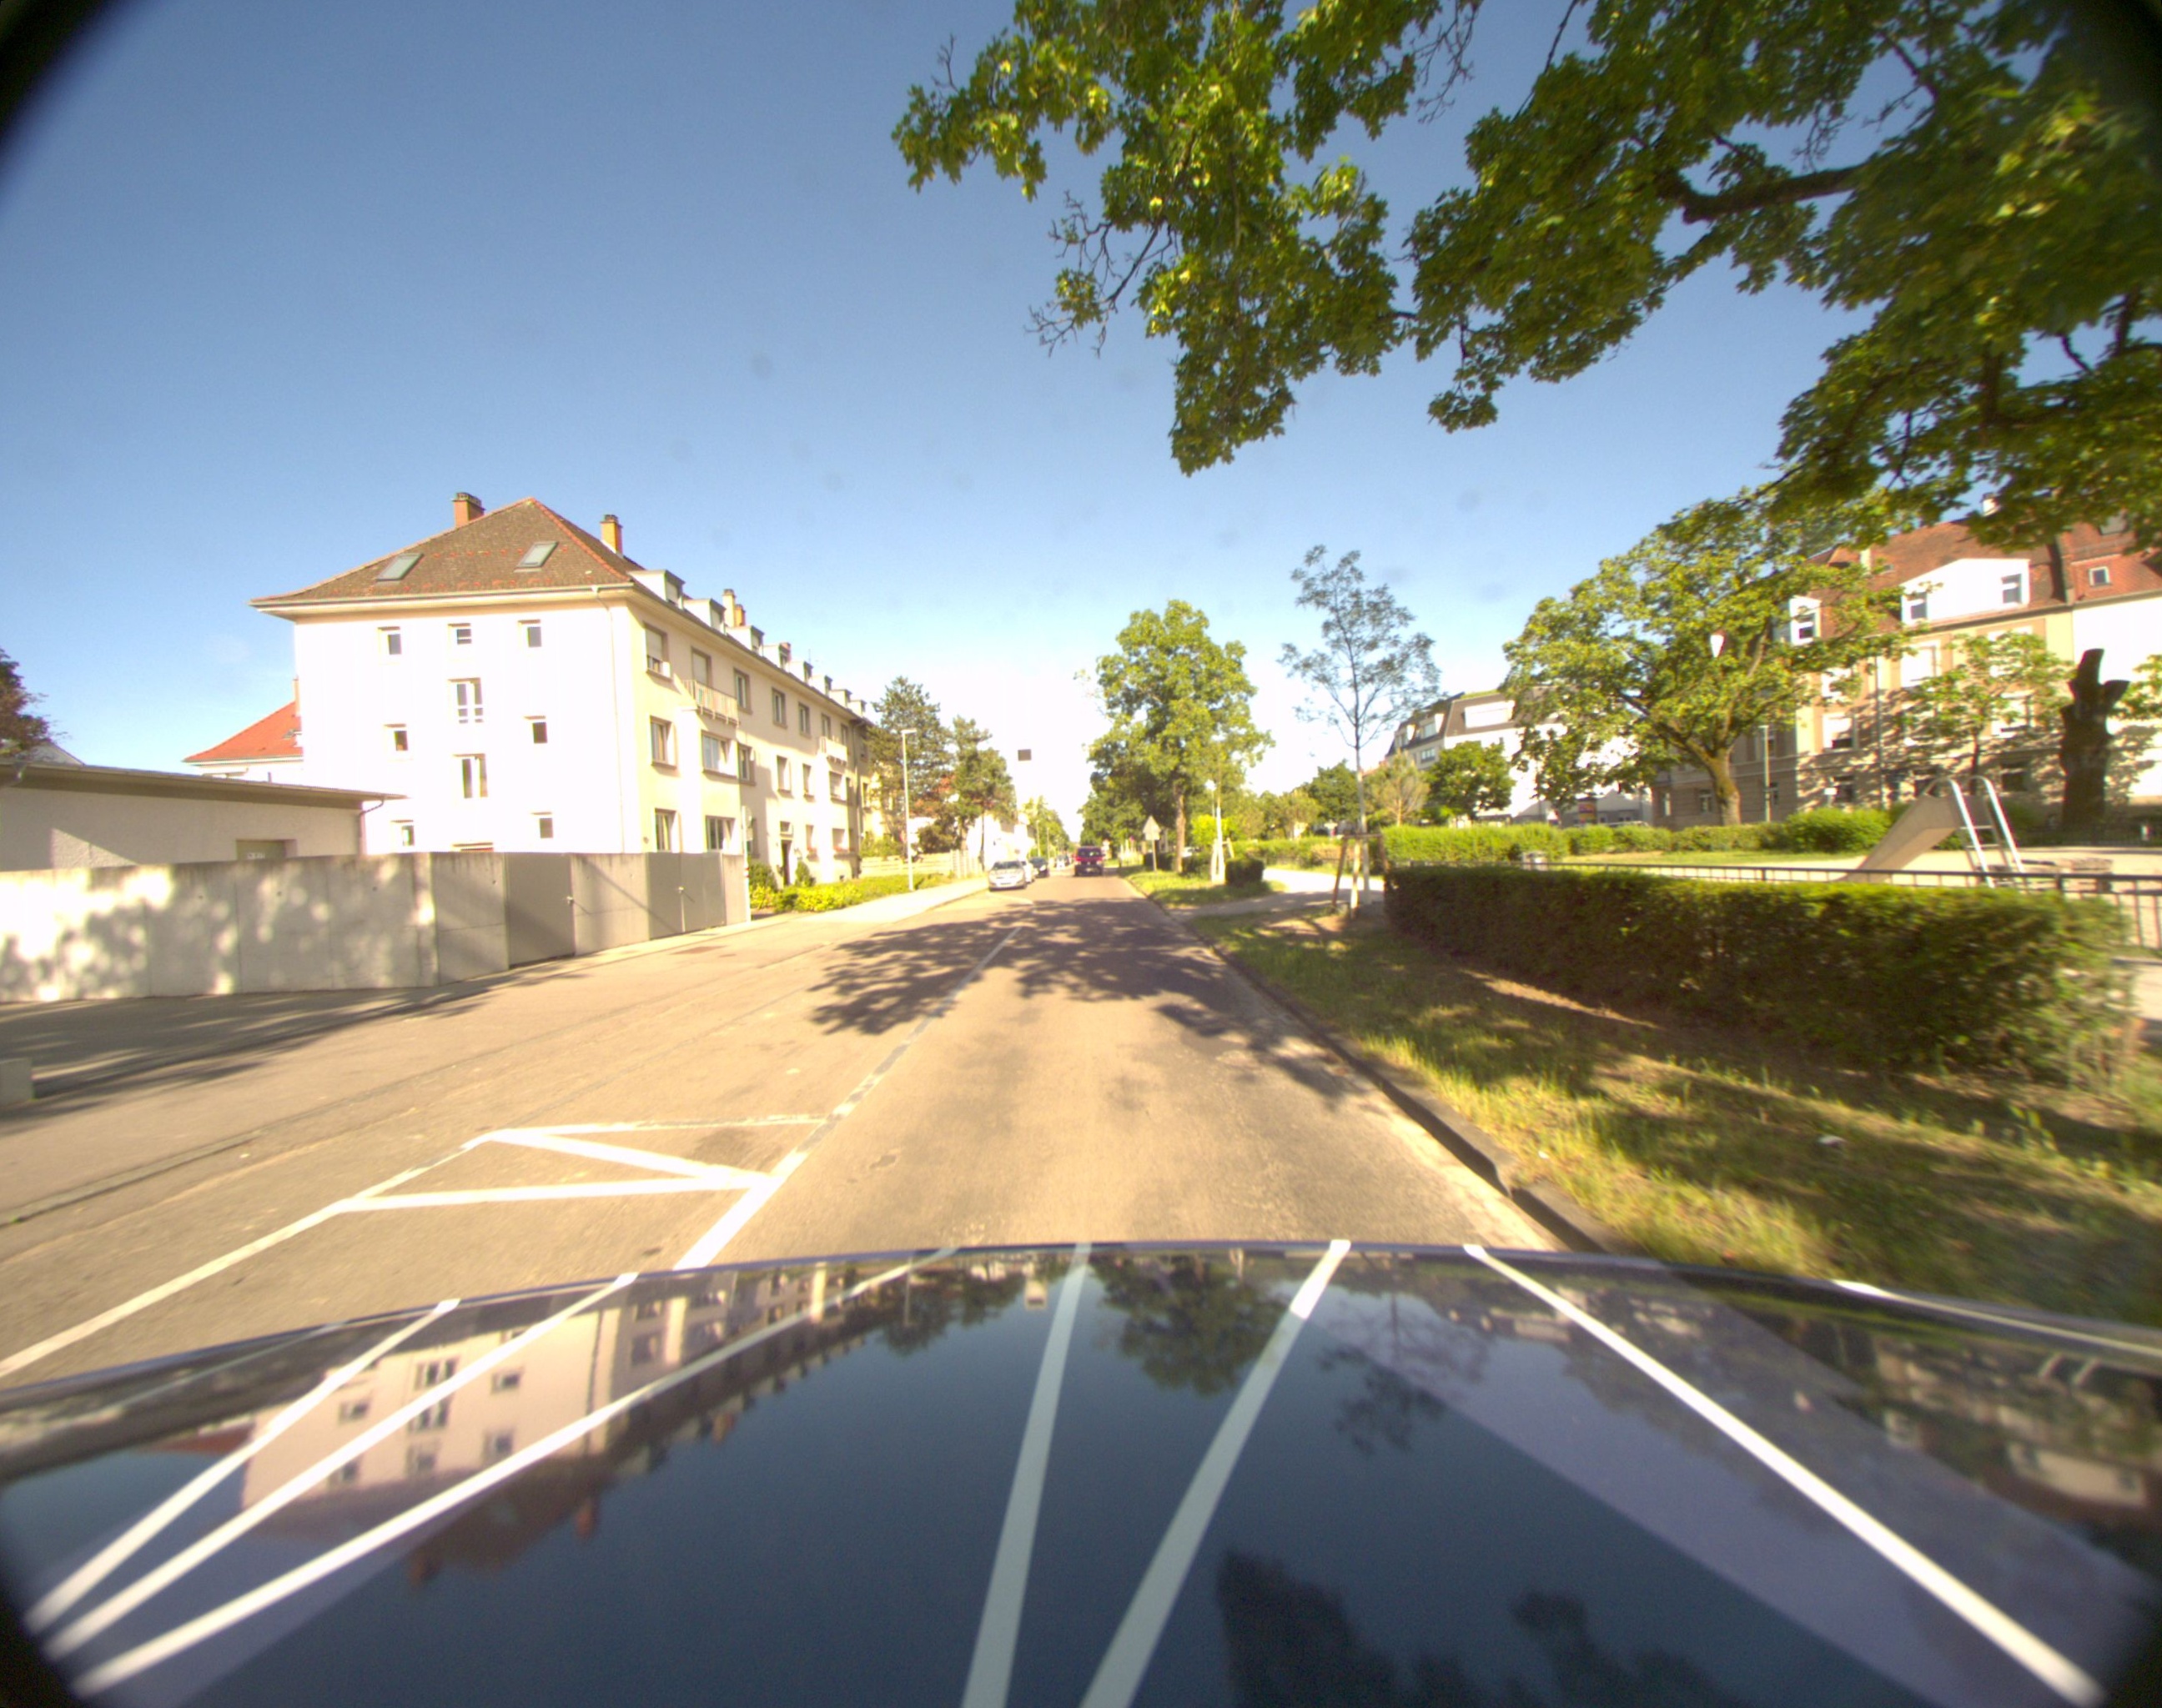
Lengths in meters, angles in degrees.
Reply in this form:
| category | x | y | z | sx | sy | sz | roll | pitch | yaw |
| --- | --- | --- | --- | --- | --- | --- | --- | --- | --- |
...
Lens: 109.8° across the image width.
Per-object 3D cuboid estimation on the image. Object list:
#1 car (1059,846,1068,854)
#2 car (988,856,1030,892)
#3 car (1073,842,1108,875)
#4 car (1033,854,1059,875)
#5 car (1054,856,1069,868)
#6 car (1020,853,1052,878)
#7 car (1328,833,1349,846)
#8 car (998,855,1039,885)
| category | x | y | z | sx | sy | sz | roll | pitch | yaw |
| --- | --- | --- | --- | --- | --- | --- | --- | --- | --- |
| car | -3.783 | -0.850 | 165.490 | 1.799 | 1.529 | 4.001 | -3 | -1 | 0 |
| car | -3.376 | 0.878 | 36.193 | 1.664 | 1.456 | 4.410 | -5 | 0 | -3 |
| car | 0.623 | 0.257 | 50.032 | 2.092 | 2.000 | 4.844 | -2 | 0 | 1 |
| car | -2.677 | 0.763 | 59.174 | 1.676 | 1.414 | 4.134 | -5 | 0 | 1 |
| car | -2.615 | 1.073 | 101.511 | 1.799 | 1.529 | 4.001 | -3 | -1 | 0 |
| car | -3.064 | 0.781 | 52.514 | 1.799 | 1.501 | 3.994 | -5 | 0 | 1 |
| car | 40.514 | -2.260 | 119.697 | 1.941 | 2.017 | 4.406 | -2 | 1 | 3 |
| car | -3.443 | 0.842 | 42.654 | 1.799 | 1.413 | 4.288 | -5 | 0 | 1 |
